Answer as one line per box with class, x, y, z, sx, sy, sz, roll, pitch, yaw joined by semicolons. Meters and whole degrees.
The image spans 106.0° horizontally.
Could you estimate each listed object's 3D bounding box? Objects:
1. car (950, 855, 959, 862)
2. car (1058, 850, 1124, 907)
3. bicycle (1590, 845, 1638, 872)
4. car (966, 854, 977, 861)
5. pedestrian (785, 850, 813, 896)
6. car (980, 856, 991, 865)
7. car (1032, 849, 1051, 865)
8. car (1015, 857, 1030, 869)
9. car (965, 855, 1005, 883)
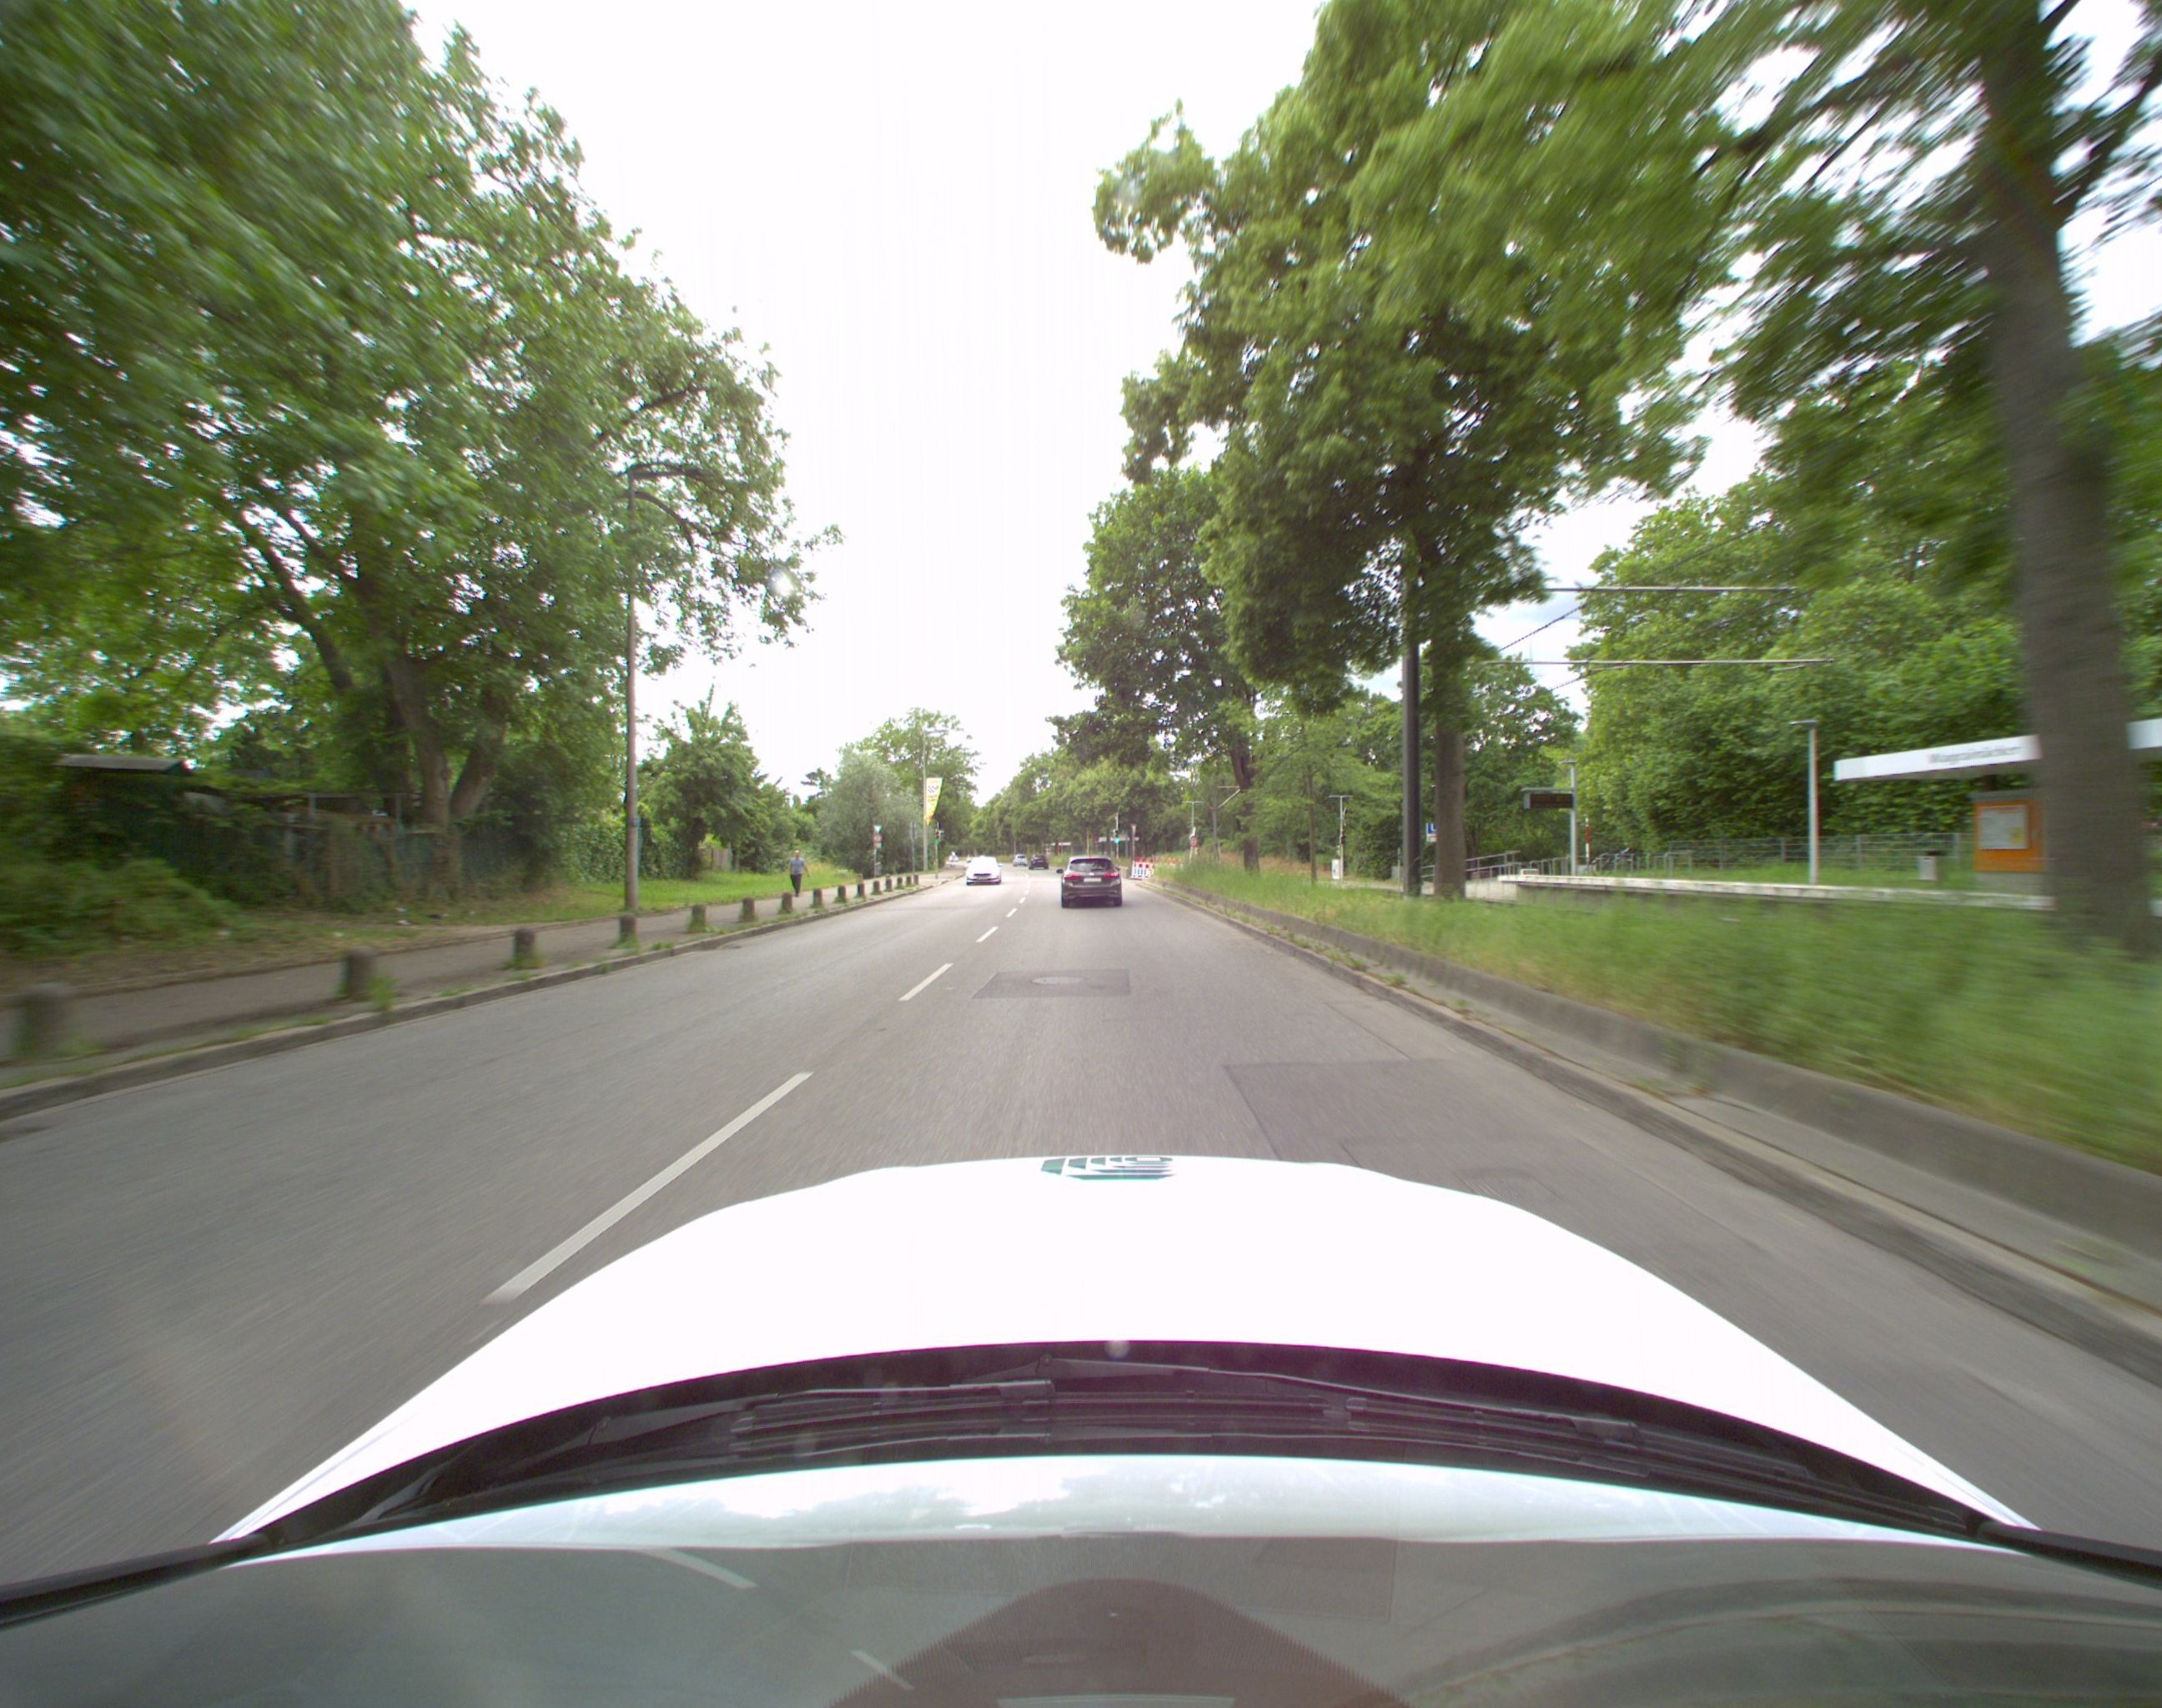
car;-28.015;0.928;180.669;1.776;1.472;3.986;1;0;-10
car;0.247;0.672;24.884;1.811;1.508;3.998;-1;1;-1
bicycle;19.523;0.164;29.849;1.505;0.973;0.450;1;0;-4
car;-21.469;0.688;160.177;1.778;1.472;3.983;0;0;-13
pedestrian;-10.111;0.670;29.194;0.687;1.634;0.838;1;0;0
car;-16.843;1.199;143.145;1.773;1.472;3.992;2;0;-6
car;-3.885;0.283;80.501;1.772;1.472;3.995;1;0;-3
car;-7.597;1.152;105.580;1.773;1.472;3.993;1;0;-5
car;-5.238;0.784;44.791;1.768;1.439;4.358;-2;0;-2
